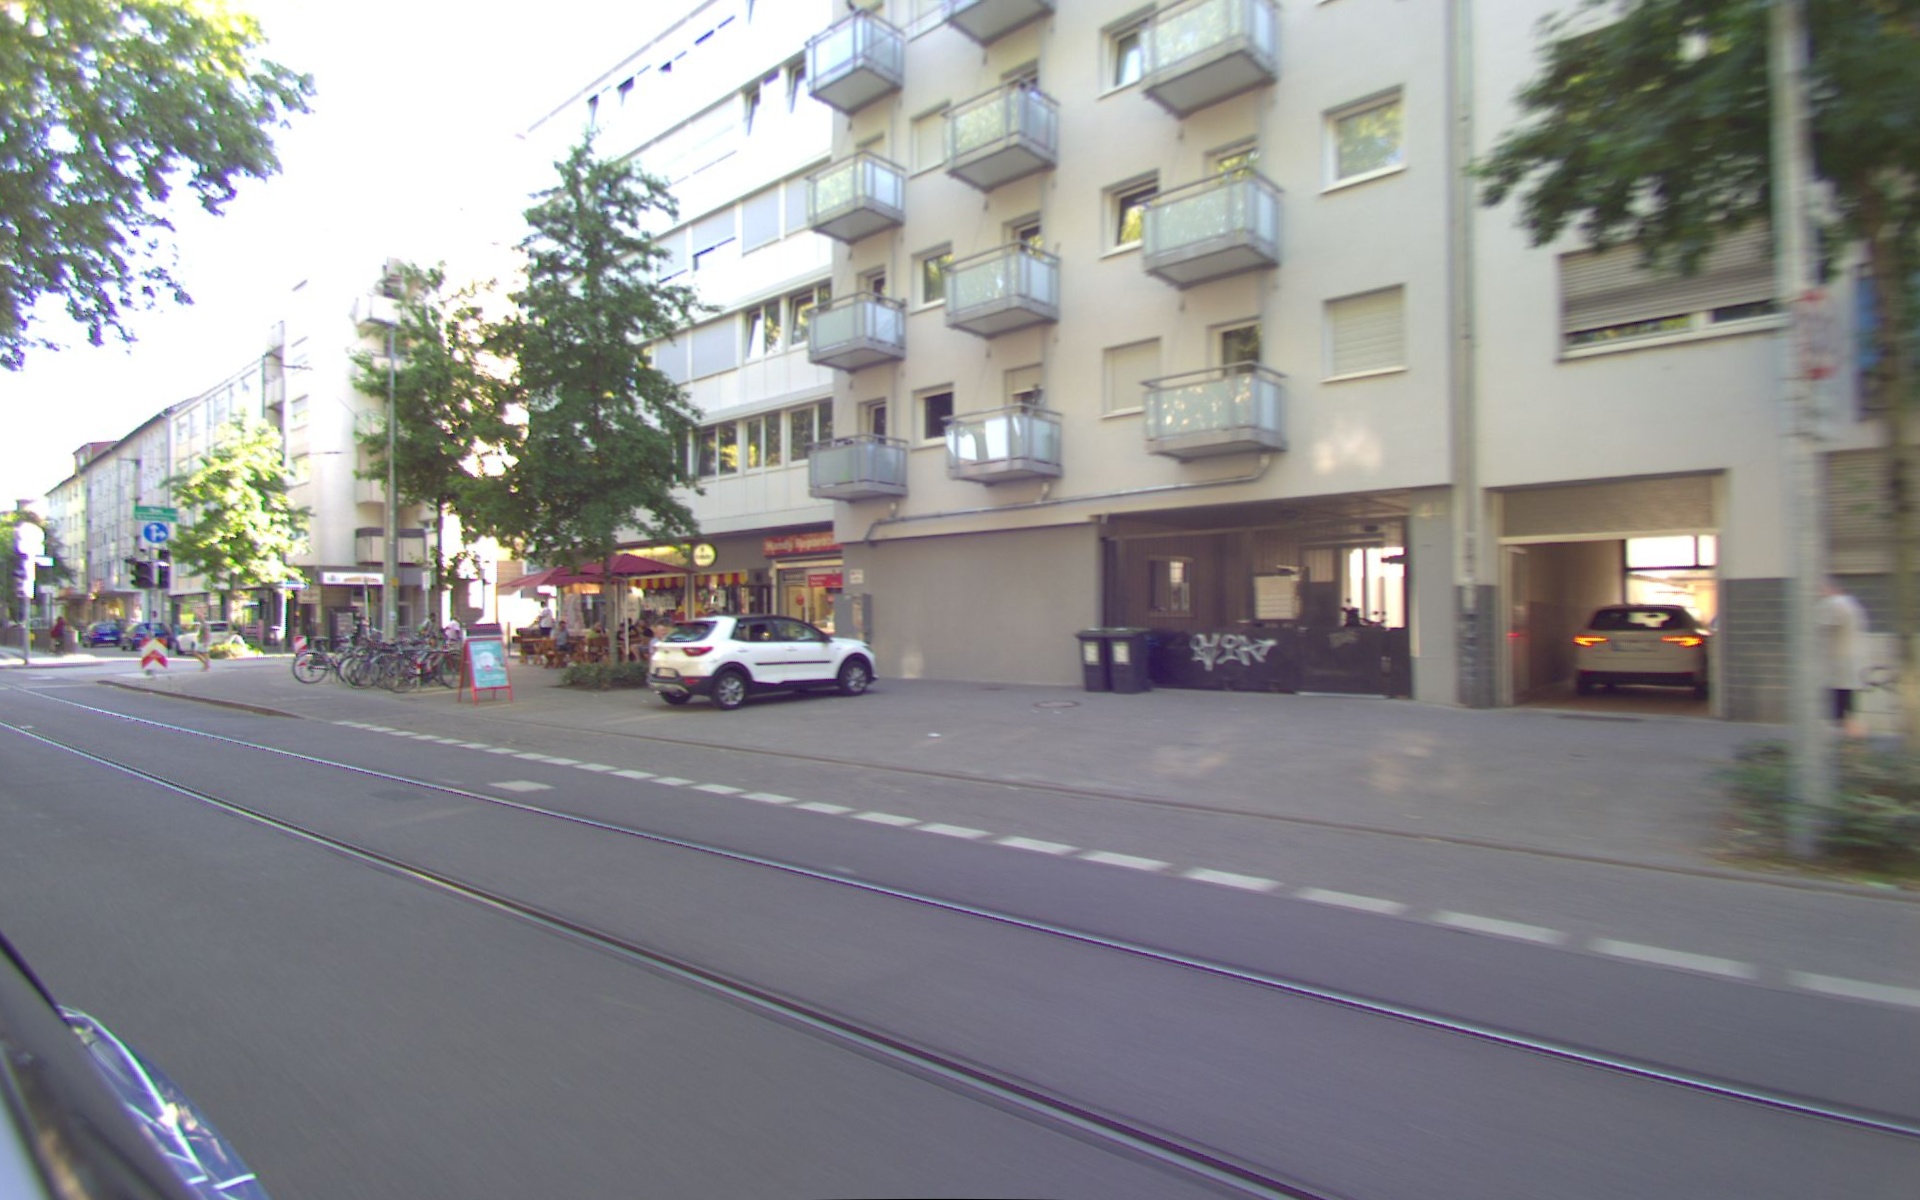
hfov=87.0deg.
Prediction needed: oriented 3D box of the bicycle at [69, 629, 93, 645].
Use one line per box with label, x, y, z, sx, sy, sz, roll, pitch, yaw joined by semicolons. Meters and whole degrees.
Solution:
bicycle;-63.079;2.662;72.613;2.019;1.165;0.555;-1;-2;26

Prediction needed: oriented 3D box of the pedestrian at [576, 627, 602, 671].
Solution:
pedestrian;-10.476;1.373;28.587;0.564;1.207;0.506;-2;-2;43

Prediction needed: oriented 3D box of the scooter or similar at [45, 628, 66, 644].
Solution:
scooter or similar;-69.161;2.774;77.372;1.259;1.183;0.445;0;-2;5

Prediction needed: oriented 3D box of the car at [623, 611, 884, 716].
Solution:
car;-3.385;0.968;17.060;1.852;1.486;3.968;-1;0;44

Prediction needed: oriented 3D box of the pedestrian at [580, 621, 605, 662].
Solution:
pedestrian;-10.928;1.220;30.108;0.507;1.207;0.562;0;-2;6

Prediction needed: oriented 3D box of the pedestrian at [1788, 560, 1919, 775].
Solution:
pedestrian;7.564;0.547;8.592;0.794;1.704;0.756;-2;-2;40

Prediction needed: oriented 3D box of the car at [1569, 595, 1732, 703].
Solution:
car;11.170;0.684;16.259;1.849;1.486;3.973;-1;0;39

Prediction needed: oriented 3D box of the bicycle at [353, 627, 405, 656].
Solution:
bicycle;-24.532;1.737;42.746;0.567;1.165;2.025;-1;-1;19

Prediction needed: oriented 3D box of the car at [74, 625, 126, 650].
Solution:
car;-50.859;2.206;59.824;4.280;1.475;1.775;-2;-3;42

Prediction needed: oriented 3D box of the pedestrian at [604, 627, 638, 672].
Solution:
pedestrian;-9.315;1.349;27.817;0.684;1.207;0.601;0;-2;7

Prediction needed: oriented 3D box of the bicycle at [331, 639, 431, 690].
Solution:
bicycle;-12.749;1.396;22.338;0.657;1.015;1.812;-1;0;36

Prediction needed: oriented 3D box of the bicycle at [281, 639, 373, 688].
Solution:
bicycle;-14.514;1.434;23.235;0.657;1.015;1.675;-1;0;36

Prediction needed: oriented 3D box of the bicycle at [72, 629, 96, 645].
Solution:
bicycle;-63.196;2.663;73.042;2.019;1.165;0.555;-1;-2;26

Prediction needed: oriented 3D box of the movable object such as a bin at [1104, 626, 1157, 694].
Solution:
movable object such as a bin;2.776;0.959;16.467;0.574;1.063;0.665;-2;-2;43

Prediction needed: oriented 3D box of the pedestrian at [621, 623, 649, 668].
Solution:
pedestrian;-8.726;1.221;27.179;0.558;1.207;0.511;-1;-2;13

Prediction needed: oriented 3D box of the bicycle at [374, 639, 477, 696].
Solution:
bicycle;-10.576;1.319;20.069;0.657;1.015;1.675;-1;0;36

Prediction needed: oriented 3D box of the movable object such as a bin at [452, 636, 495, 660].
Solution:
movable object such as a bin;-16.419;1.613;34.152;0.661;0.763;1.189;-1;0;20

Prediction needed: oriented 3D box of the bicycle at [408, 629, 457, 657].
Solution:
bicycle;-22.271;1.813;42.775;1.760;1.165;0.573;1;-2;-38

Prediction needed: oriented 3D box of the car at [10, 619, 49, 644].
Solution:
car;-75.787;2.555;82.418;4.046;1.949;1.785;-2;-2;40

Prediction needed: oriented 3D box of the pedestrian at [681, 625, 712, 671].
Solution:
pedestrian;-7.047;1.281;27.032;0.624;1.207;0.556;-2;-2;40

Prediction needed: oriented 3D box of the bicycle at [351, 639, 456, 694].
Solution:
bicycle;-11.506;1.351;20.974;0.657;1.015;1.812;-1;0;36

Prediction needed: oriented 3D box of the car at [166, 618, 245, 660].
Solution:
car;-33.231;1.694;44.560;4.355;1.663;1.859;-2;0;41

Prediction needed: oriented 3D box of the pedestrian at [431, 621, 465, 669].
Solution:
pedestrian;-16.670;1.456;32.967;0.767;1.568;0.718;-1;-2;36

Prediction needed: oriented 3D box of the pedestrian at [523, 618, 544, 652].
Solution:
pedestrian;-19.957;1.614;47.346;0.716;1.568;0.727;1;-2;-40

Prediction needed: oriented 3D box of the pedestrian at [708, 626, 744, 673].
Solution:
pedestrian;-6.058;1.270;26.209;0.655;1.207;0.665;-2;-2;40

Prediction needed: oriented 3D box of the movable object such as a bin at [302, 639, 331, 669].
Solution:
movable object such as a bin;-20.767;1.733;32.653;0.646;0.939;0.536;-1;-2;25

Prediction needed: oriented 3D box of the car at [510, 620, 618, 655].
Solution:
car;-18.129;1.705;46.477;1.894;1.515;4.235;-2;-2;42

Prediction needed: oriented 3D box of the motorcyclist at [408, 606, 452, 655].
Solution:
motorcyclist;-16.136;0.920;30.810;1.016;1.451;0.864;-2;-2;42

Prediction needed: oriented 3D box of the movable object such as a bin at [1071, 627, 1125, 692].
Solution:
movable object such as a bin;2.303;0.979;16.896;0.622;1.063;0.670;-2;-2;43

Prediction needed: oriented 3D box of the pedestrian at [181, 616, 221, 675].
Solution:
pedestrian;-22.203;1.325;29.607;0.767;1.684;0.750;-1;-2;36

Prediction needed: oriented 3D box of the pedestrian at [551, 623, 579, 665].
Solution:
pedestrian;-11.625;1.288;29.801;0.560;1.207;0.509;-1;-2;25

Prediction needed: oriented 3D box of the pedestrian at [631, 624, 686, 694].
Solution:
pedestrian;-5.789;1.110;19.441;0.744;1.307;0.708;-1;-2;28

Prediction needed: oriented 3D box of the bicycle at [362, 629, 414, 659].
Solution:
bicycle;-23.230;1.786;41.116;1.759;1.165;0.574;0;-2;-18

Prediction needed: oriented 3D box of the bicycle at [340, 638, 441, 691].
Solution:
bicycle;-12.288;1.368;21.884;0.657;1.015;1.812;-1;0;36

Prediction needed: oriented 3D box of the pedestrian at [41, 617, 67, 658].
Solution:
pedestrian;-35.447;1.452;39.592;0.772;1.597;0.647;-1;-2;42

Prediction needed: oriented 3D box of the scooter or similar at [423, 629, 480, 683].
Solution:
scooter or similar;-11.787;1.280;23.464;0.498;1.185;1.068;-1;0;40

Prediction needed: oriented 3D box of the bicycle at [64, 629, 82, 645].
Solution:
bicycle;-66.332;2.789;75.653;2.033;1.165;0.565;-1;-2;36

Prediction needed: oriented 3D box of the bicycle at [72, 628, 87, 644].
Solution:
bicycle;-64.804;2.663;74.475;1.748;1.165;0.488;-1;-2;36

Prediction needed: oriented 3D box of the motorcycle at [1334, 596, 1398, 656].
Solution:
motorcycle;10.163;0.638;25.294;0.984;1.412;2.196;-1;-1;35

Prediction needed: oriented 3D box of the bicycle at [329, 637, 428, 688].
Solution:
bicycle;-13.018;1.380;22.700;0.657;1.015;1.812;-1;0;36

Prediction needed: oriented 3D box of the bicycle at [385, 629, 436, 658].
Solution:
bicycle;-22.711;1.781;41.852;1.759;1.165;0.574;0;-2;-18

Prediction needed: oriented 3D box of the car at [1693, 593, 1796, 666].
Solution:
car;20.816;0.763;26.808;1.998;1.796;3.947;-2;-2;40

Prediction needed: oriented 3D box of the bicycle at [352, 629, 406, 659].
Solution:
bicycle;-23.965;1.806;41.747;1.837;1.165;0.572;1;-2;-45

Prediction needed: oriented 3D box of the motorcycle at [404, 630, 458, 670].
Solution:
motorcycle;-16.084;1.510;30.767;1.914;1.173;0.840;-2;-2;42

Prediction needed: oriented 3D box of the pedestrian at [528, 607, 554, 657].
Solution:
pedestrian;-14.235;1.095;34.373;0.737;1.672;0.771;0;-2;-18

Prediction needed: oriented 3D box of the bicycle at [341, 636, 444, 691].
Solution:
bicycle;-12.091;1.330;21.625;0.657;1.072;1.812;-1;0;36

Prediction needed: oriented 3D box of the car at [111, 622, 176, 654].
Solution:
car;-42.365;1.951;52.492;4.387;1.556;1.935;-2;-3;42
